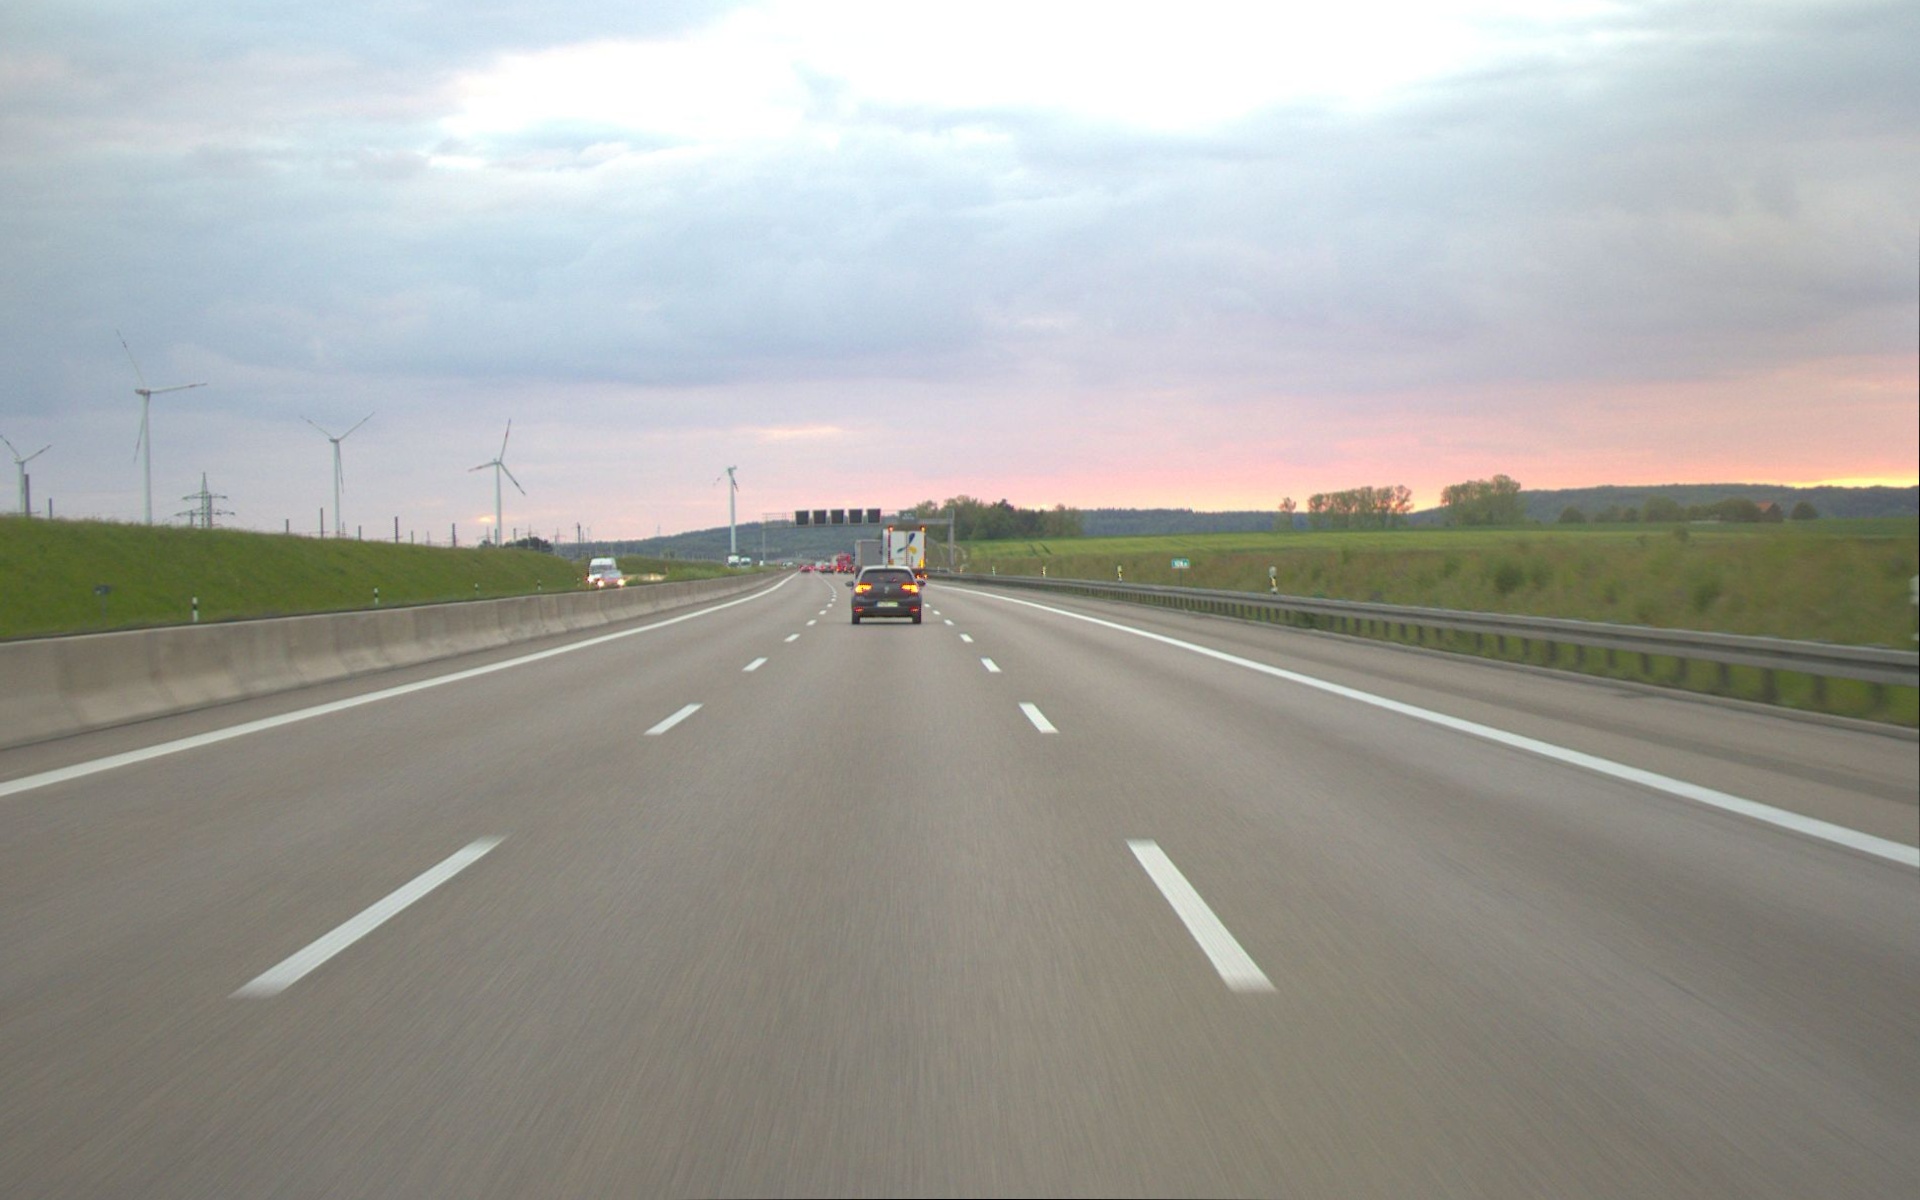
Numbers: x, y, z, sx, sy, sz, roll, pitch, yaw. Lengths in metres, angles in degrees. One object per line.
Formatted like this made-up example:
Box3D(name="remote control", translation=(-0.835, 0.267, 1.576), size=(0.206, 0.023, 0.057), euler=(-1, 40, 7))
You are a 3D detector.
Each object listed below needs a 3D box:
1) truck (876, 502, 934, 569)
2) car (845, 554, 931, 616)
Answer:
Box3D(name="truck", translation=(-3.970, -4.548, 244.794), size=(3.675, 4.549, 10.982), euler=(-1, 1, -2))
Box3D(name="car", translation=(-1.766, -0.390, 85.470), size=(1.987, 1.425, 4.000), euler=(-1, 1, 0))
